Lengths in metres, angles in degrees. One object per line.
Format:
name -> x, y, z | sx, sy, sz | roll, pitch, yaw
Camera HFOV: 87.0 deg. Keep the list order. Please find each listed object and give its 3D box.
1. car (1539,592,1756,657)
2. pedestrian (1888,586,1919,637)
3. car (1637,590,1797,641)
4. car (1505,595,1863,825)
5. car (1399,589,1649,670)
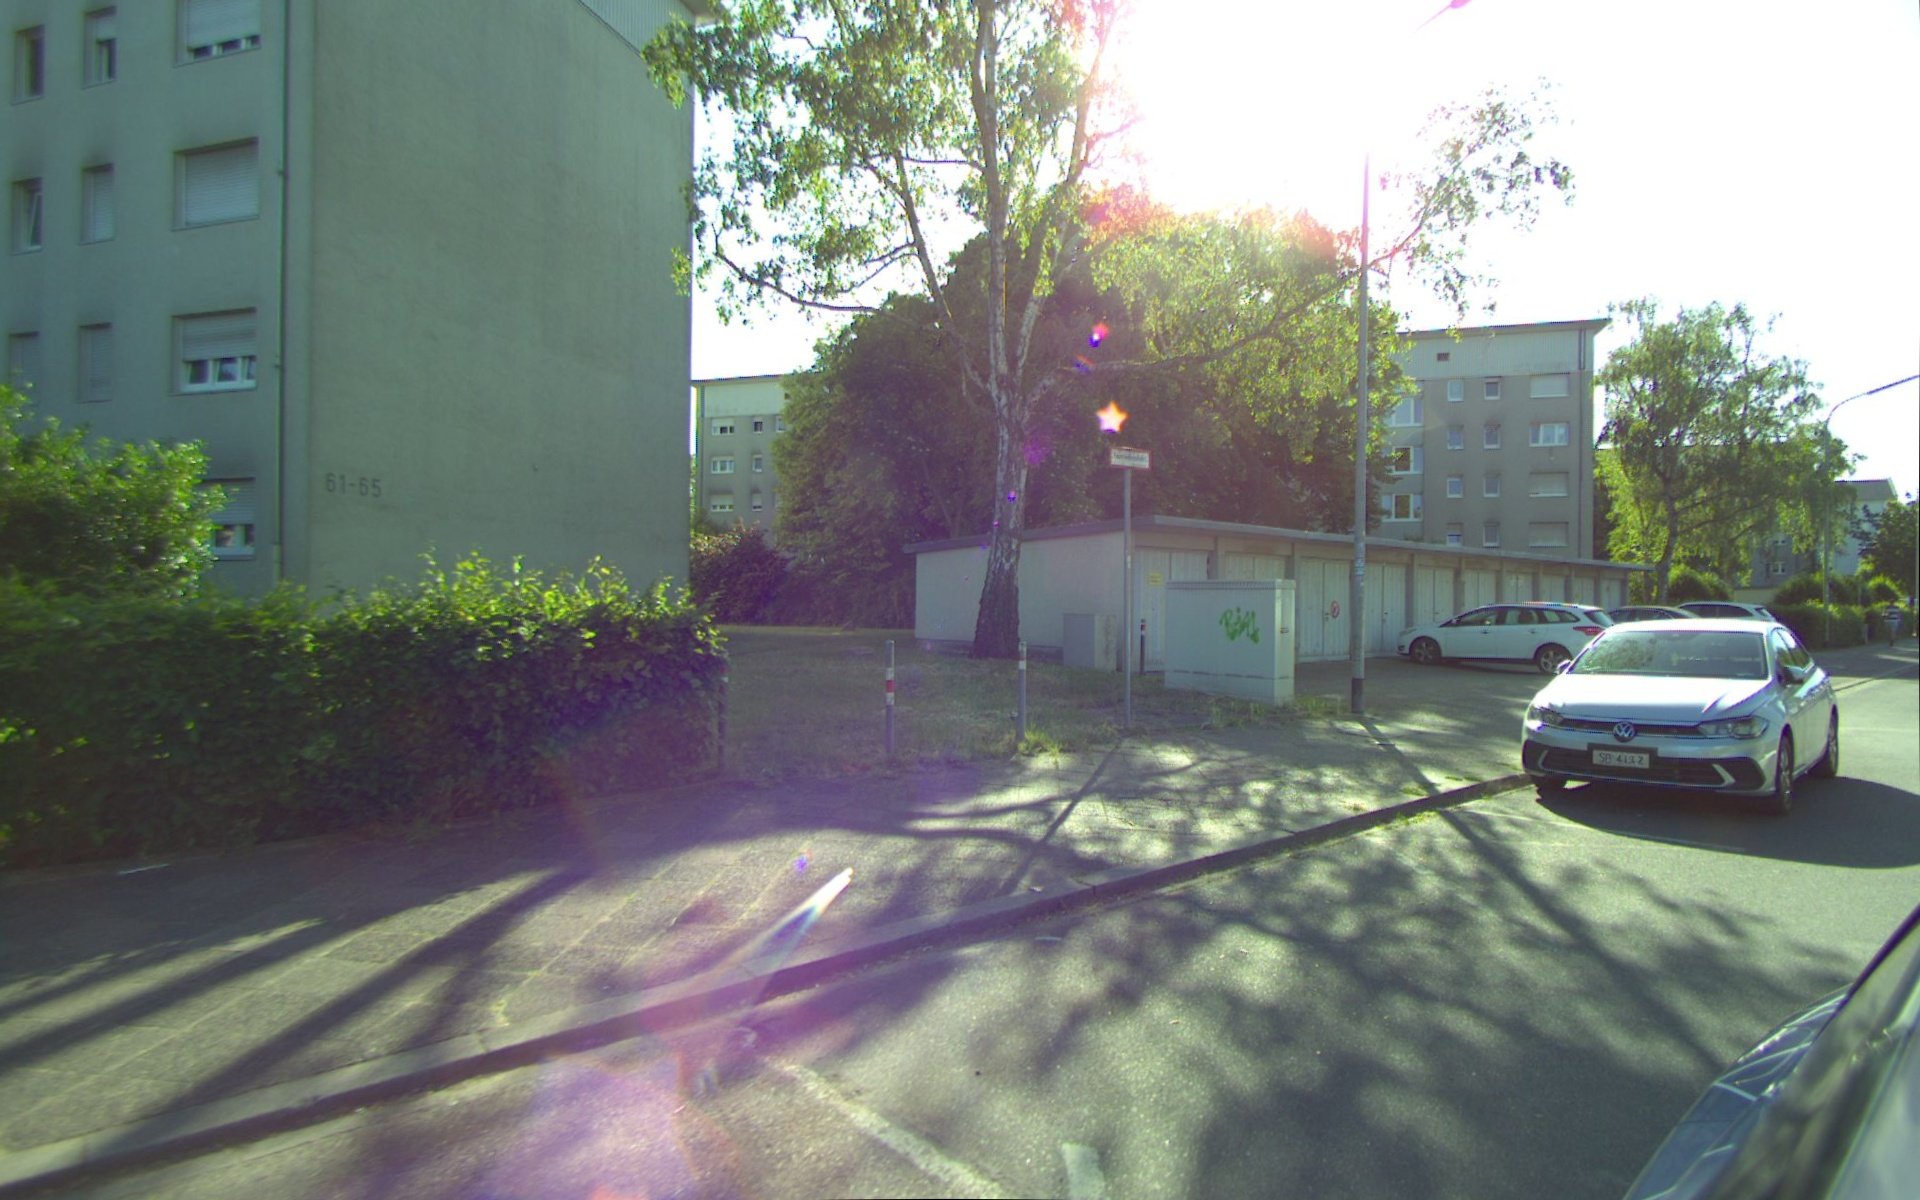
car -> 18.418, 0.594, 27.298 | 1.796, 1.532, 4.524 | 0, 1, -39
pedestrian -> 36.427, 0.426, 39.063 | 0.857, 1.912, 0.705 | 0, 2, -40
car -> 24.739, 0.464, 33.177 | 1.798, 1.532, 3.947 | 0, 1, -43
car -> 6.415, 0.750, 8.784 | 4.035, 1.533, 1.754 | 0, -2, -43
car -> 12.170, 0.553, 22.089 | 1.796, 1.532, 4.424 | 0, 1, -40
